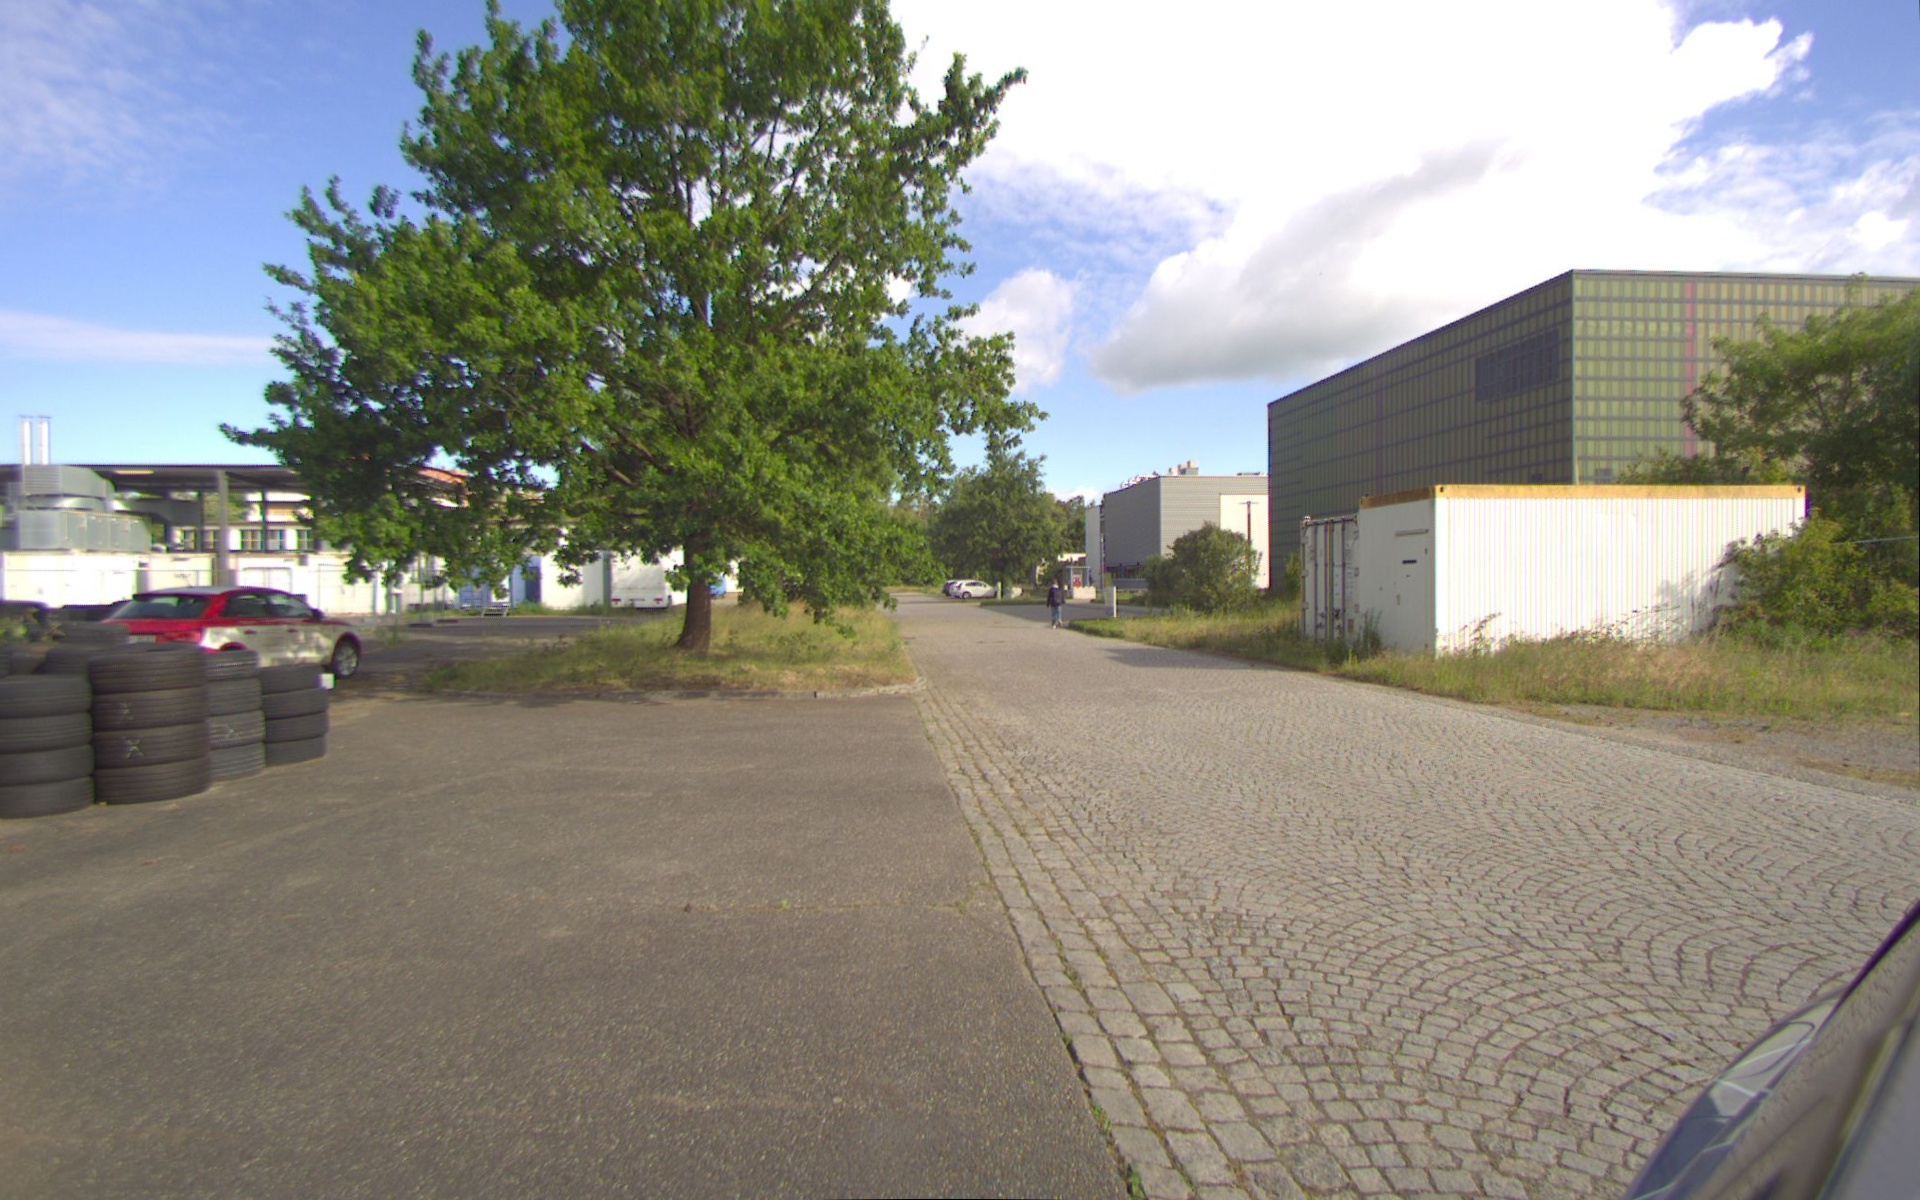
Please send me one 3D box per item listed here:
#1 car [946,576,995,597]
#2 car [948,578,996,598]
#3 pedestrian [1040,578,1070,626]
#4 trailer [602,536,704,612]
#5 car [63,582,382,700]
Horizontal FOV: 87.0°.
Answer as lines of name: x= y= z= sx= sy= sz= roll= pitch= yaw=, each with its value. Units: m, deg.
car: x=0.813 y=-1.119 z=81.760 sx=3.924 sy=1.663 sz=2.000 roll=0 pitch=1 yaw=0
car: x=0.955 y=-1.018 z=84.419 sx=3.924 sy=1.663 sz=2.000 roll=0 pitch=1 yaw=0
pedestrian: x=3.144 y=0.059 z=33.546 sx=0.851 sy=1.578 sz=1.028 roll=-1 pitch=1 yaw=-1
trailer: x=-15.644 y=-1.310 z=52.442 sx=2.869 sy=3.514 sz=9.910 roll=-1 pitch=1 yaw=-4
car: x=-10.425 y=0.482 z=14.729 sx=1.696 sy=1.482 sz=4.000 roll=0 pitch=1 yaw=1
